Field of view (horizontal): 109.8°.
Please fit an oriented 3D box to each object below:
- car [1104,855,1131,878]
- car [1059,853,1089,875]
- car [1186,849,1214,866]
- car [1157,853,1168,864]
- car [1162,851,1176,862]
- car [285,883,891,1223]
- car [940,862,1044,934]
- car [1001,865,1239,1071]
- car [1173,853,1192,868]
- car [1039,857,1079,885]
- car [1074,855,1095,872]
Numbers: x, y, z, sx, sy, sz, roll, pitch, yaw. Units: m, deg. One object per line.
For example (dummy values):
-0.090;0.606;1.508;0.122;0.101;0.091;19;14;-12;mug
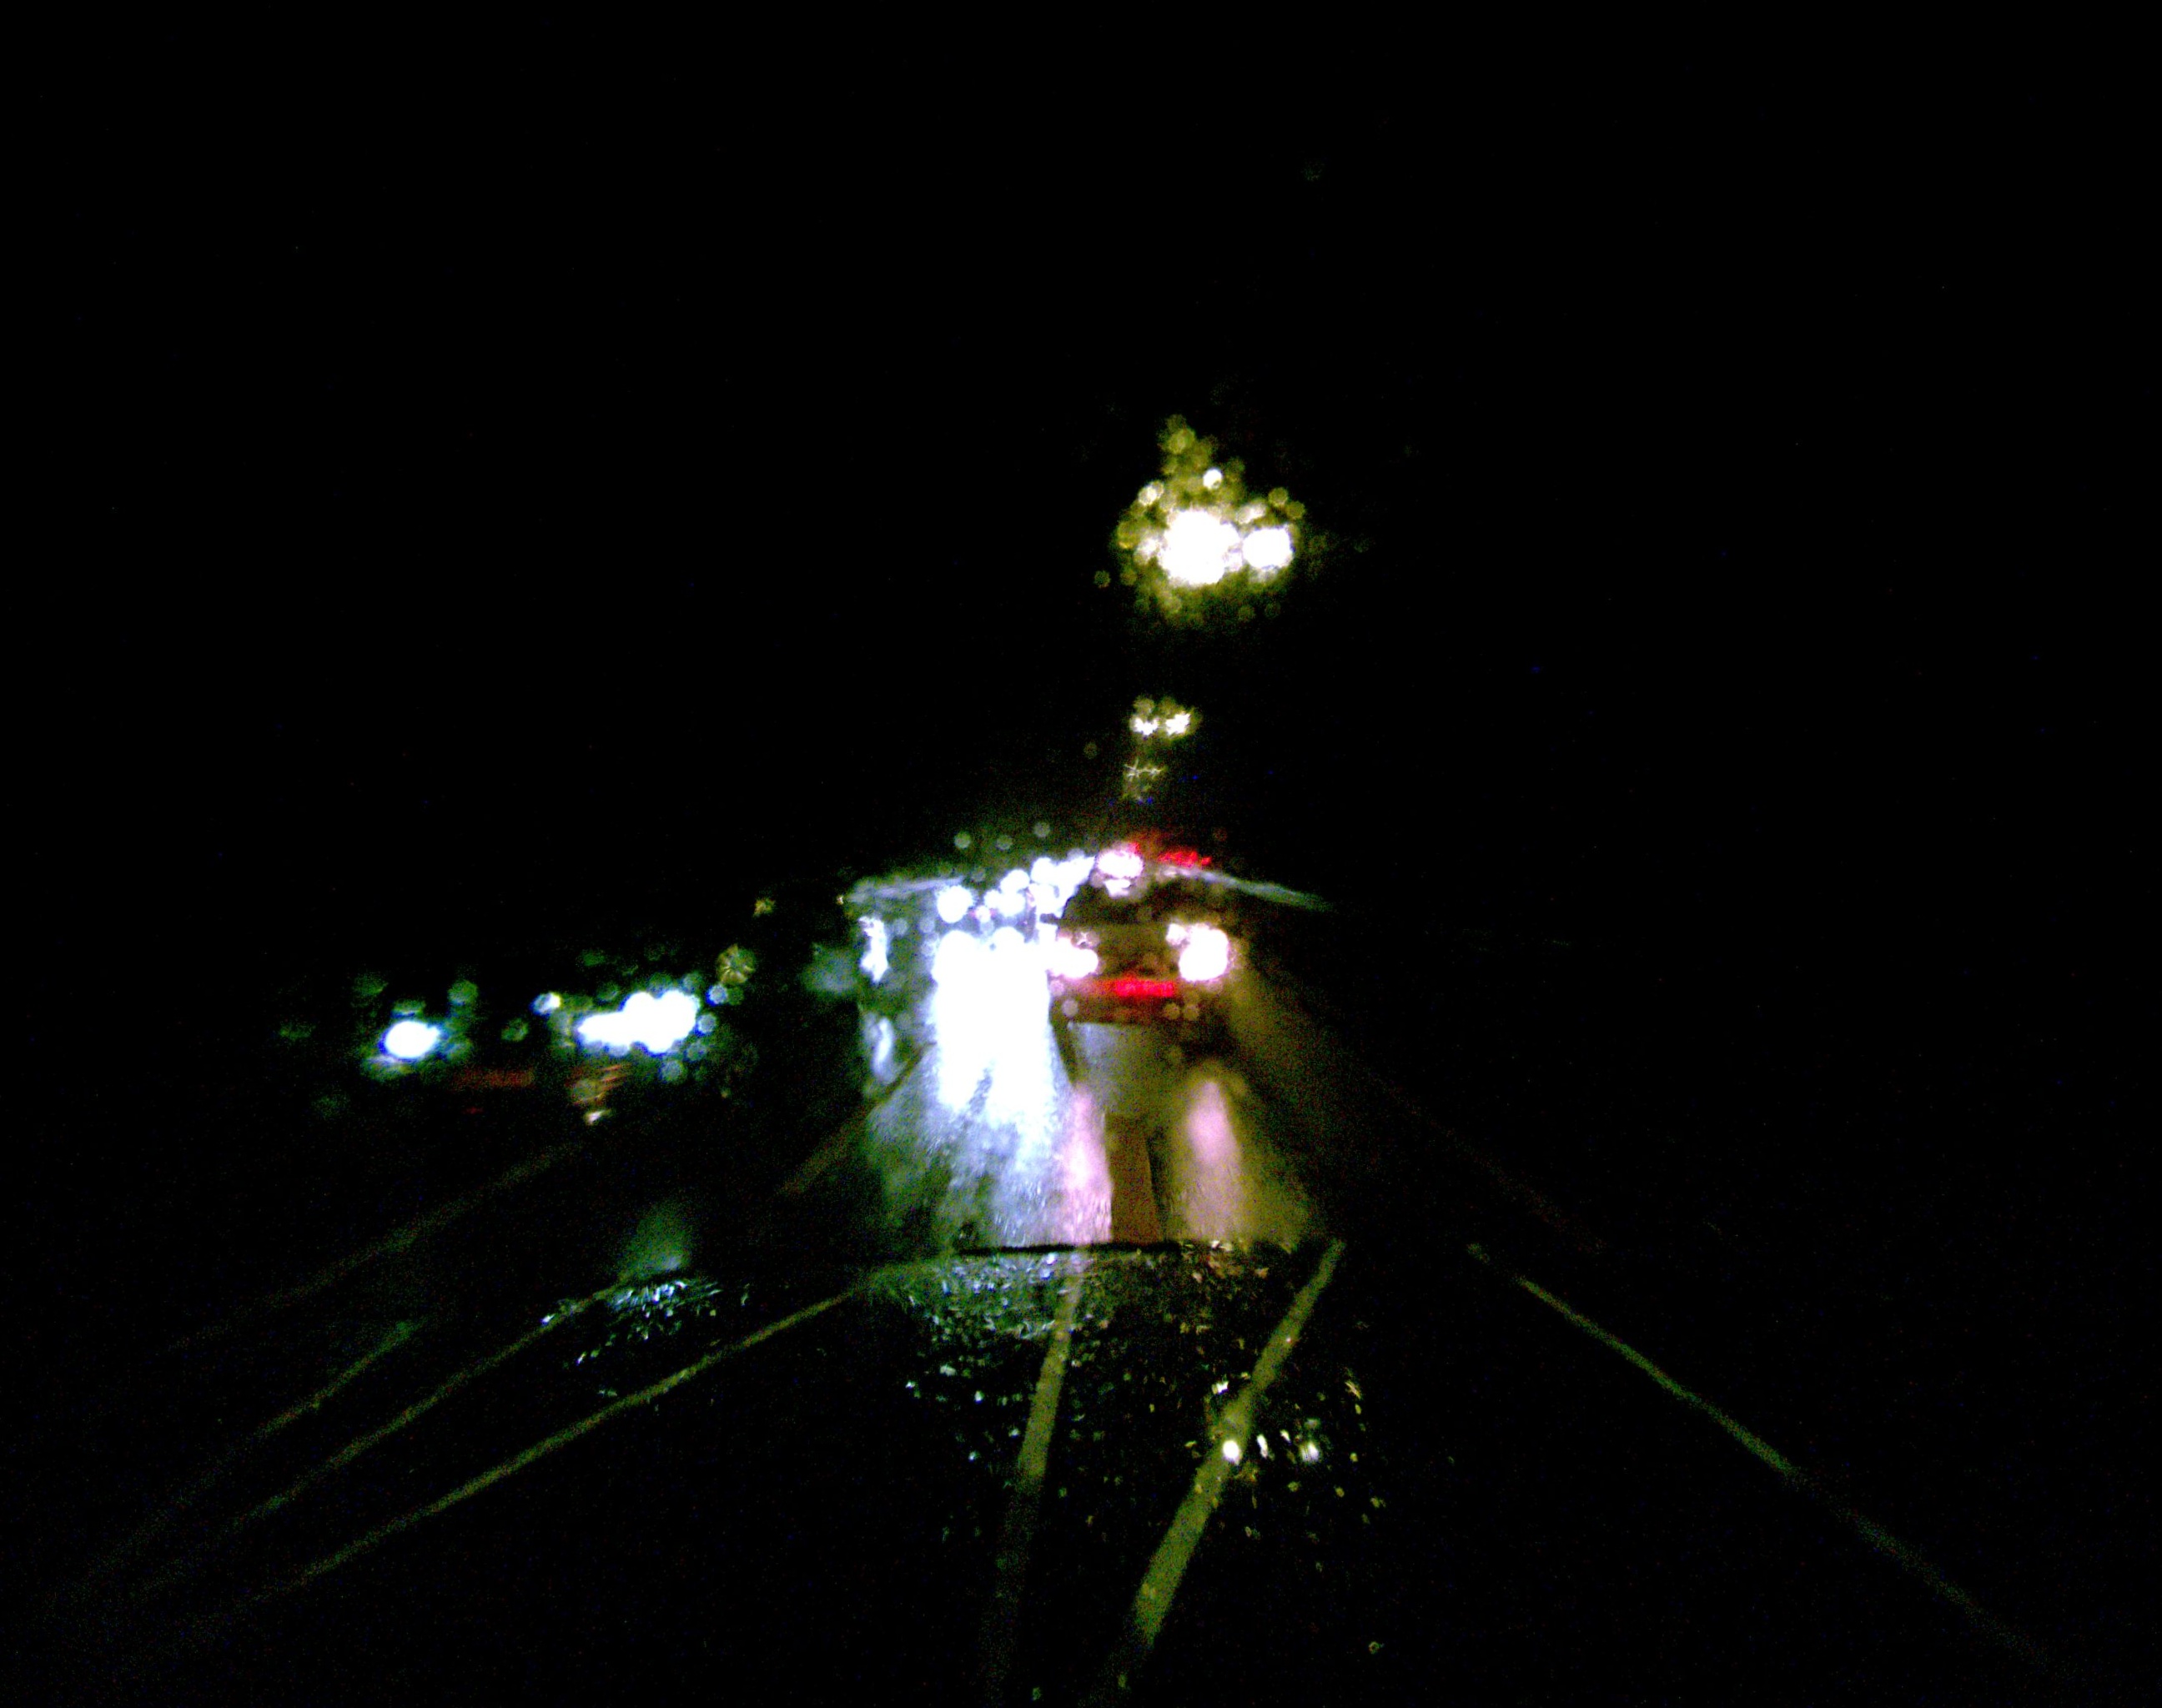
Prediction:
3.034;1.023;64.326;1.998;1.774;3.999;-4;1;1;car
-0.496;0.756;59.226;1.998;1.531;4.001;-3;0;3;car
10.233;0.266;65.603;1.820;1.386;4.462;1;0;3;car
13.634;0.739;126.852;1.624;1.641;4.001;-1;1;4;car
11.750;0.314;101.699;1.571;1.533;4.162;1;0;3;car
-3.111;1.114;6.241;1.736;1.440;4.725;-3;0;1;car
-2.127;1.027;19.491;1.826;1.476;4.568;-3;0;3;car
0.408;0.918;7.895;1.764;1.492;4.001;-3;-1;3;car
11.131;0.703;83.528;1.813;1.559;4.001;1;0;4;car
-1.263;0.983;45.601;1.998;1.455;4.001;-3;0;3;car
0.392;0.940;78.029;1.998;1.657;4.000;-2;0;2;car
